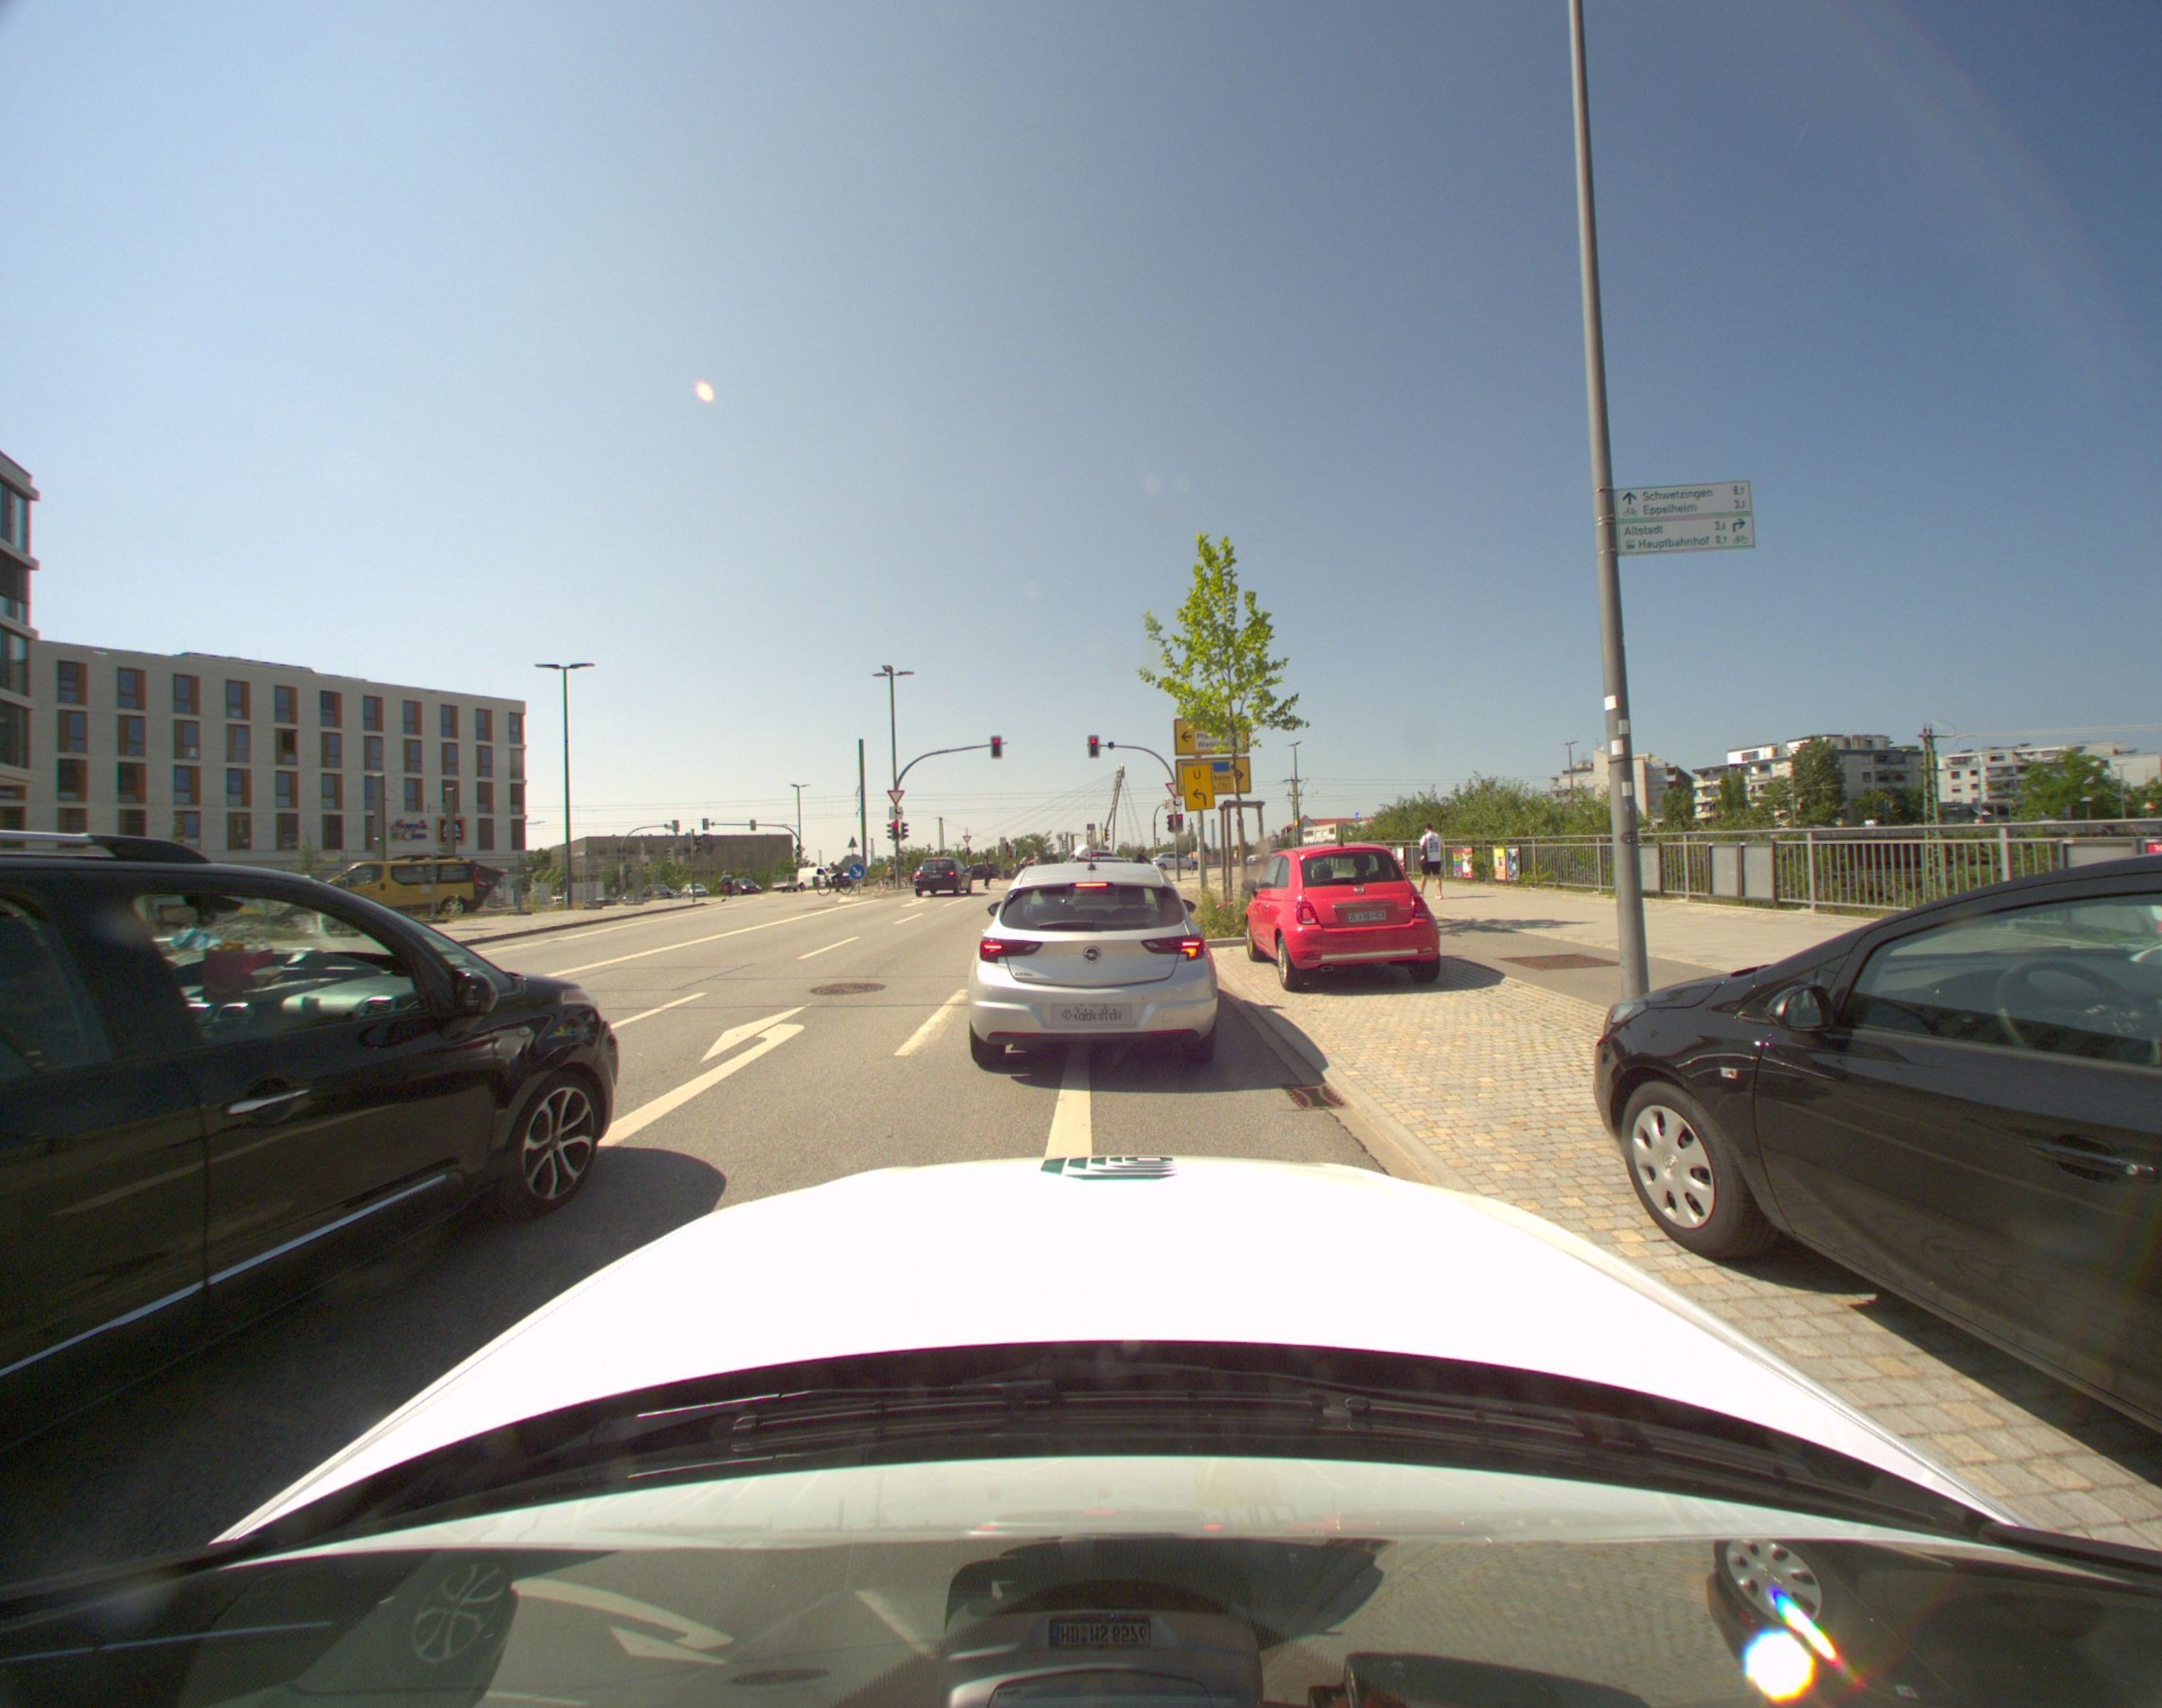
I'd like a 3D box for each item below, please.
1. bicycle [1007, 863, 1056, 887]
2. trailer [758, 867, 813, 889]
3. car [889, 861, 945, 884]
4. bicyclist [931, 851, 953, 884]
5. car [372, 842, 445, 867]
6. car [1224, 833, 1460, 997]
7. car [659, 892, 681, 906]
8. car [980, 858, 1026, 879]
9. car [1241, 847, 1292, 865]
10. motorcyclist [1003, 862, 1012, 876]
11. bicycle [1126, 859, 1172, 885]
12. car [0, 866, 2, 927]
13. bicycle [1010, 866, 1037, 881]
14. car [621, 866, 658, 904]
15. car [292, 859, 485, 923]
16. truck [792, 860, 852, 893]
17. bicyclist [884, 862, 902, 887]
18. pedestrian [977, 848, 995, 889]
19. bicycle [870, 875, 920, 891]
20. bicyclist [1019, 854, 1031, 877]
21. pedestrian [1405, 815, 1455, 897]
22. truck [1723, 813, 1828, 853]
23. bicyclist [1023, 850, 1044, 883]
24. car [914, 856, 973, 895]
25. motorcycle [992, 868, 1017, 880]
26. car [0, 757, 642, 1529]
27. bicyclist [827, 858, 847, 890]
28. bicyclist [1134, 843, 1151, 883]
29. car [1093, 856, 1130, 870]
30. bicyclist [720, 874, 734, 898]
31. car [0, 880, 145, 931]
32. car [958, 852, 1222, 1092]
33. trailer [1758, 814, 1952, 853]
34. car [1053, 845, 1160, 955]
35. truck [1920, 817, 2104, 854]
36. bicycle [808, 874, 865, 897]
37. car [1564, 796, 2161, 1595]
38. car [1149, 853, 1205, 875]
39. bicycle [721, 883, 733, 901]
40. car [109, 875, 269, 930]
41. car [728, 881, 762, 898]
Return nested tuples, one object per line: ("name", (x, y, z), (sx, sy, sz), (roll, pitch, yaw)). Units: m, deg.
("bicycle", (-2.390, 1.001, 39.402), (2.351, 1.127, 0.677), (0, -1, -2))
("trailer", (-24.329, 1.923, 67.001), (4.231, 1.776, 2.012), (-1, -1, 31))
("car", (-13.182, 1.469, 65.535), (3.998, 1.815, 1.942), (-1, -1, 22))
("bicyclist", (-6.528, 0.628, 38.355), (0.818, 1.560, 0.864), (0, -1, 4))
("car", (-54.326, 0.042, 65.867), (3.990, 2.014, 1.991), (0, -1, -12))
("car", (2.953, 0.576, 10.082), (1.663, 1.539, 3.918), (-3, 1, 1))
("car", (-45.399, 4.918, 89.897), (1.593, 1.439, 3.118), (1, -1, -38))
("car", (-7.350, 1.380, 77.157), (3.962, 2.014, 2.006), (0, -1, 10))
("car", (17.524, 0.167, 76.923), (4.254, 1.673, 1.989), (0, -1, -16))
("motorcyclist", (-7.587, 1.553, 84.215), (0.806, 1.476, 0.885), (0, -1, 1))
("bicycle", (3.234, 0.864, 38.794), (2.087, 1.178, 0.552), (-1, -1, -19))
("car", (-36.293, 1.385, 25.025), (2.220, 2.056, 4.133), (0, -1, -28))
("bicycle", (-4.062, 1.359, 57.562), (1.858, 1.068, 0.578), (0, -1, 3))
("car", (-24.163, 1.655, 44.578), (1.680, 2.014, 3.963), (1, -1, -28))
("car", (-22.447, 1.143, 26.544), (1.974, 1.890, 4.514), (-1, -1, 40))
("truck", (-20.617, 1.808, 64.792), (4.648, 2.540, 2.012), (-1, -1, 31))
("bicyclist", (-9.027, 0.998, 39.164), (0.654, 1.175, 0.731), (0, -1, 3))
("pedestrian", (-4.379, 0.661, 37.562), (0.740, 1.863, 0.750), (0, -1, -12))
("bicycle", (-8.946, 1.400, 39.161), (2.237, 0.692, 0.516), (-1, -1, 2))
("bicyclist", (-3.960, 0.808, 57.567), (0.769, 1.610, 0.949), (0, -1, 2))
("pedestrian", (7.895, 0.050, 18.456), (0.755, 1.830, 0.885), (0, -1, 1))
("truck", (59.003, -1.718, 69.274), (6.478, 3.204, 3.721), (0, -1, -14))
("bicyclist", (-2.275, 0.597, 39.411), (0.942, 1.569, 0.823), (0, -1, 1))
("car", (-5.218, 0.811, 31.190), (1.581, 1.395, 3.340), (-1, -1, 1))
("motorcycle", (-7.900, 2.046, 84.225), (2.528, 1.233, 0.648), (0, -1, 0))
("car", (-3.174, 0.633, 2.170), (1.797, 1.622, 3.917), (-1, -1, 1))
("bicyclist", (-11.523, 0.958, 38.514), (0.654, 1.502, 0.844), (0, -1, 3))
("bicyclist", (2.934, 0.410, 38.708), (0.595, 1.887, 0.633), (0, -1, -18))
("car", (2.817, 0.864, 76.175), (3.212, 1.304, 1.518), (0, -1, -11))
("bicyclist", (-23.258, 2.086, 53.515), (0.826, 1.504, 0.715), (0, -1, -26))
("car", (-33.729, 1.669, 27.204), (1.809, 1.508, 3.965), (0, -1, -27))
("car", (0.102, 0.777, 7.404), (1.685, 1.520, 4.271), (-1, 0, 1))
("trailer", (68.004, -1.707, 71.535), (17.225, 3.204, 3.723), (0, -1, -14))
("car", (0.427, 0.734, 14.266), (1.629, 1.674, 3.745), (0, -1, 1))
("truck", (87.845, -1.666, 76.808), (17.857, 3.204, 3.723), (0, -1, -14))
("bicycle", (-11.555, 1.477, 38.500), (2.494, 1.007, 0.605), (-1, -1, 2))
("car", (2.879, 0.639, 1.719), (1.576, 1.555, 3.548), (-4, 0, 1))
("car", (7.410, 0.774, 63.091), (3.967, 1.551, 1.673), (-2, -1, -4))
("bicycle", (-23.325, 2.508, 53.650), (0.638, 1.133, 2.307), (-1, -1, -25))
("car", (-31.075, 1.615, 28.603), (2.003, 1.707, 4.526), (0, -1, -23))
("car", (-29.830, 3.124, 72.225), (1.675, 1.390, 3.742), (1, -1, -41))
